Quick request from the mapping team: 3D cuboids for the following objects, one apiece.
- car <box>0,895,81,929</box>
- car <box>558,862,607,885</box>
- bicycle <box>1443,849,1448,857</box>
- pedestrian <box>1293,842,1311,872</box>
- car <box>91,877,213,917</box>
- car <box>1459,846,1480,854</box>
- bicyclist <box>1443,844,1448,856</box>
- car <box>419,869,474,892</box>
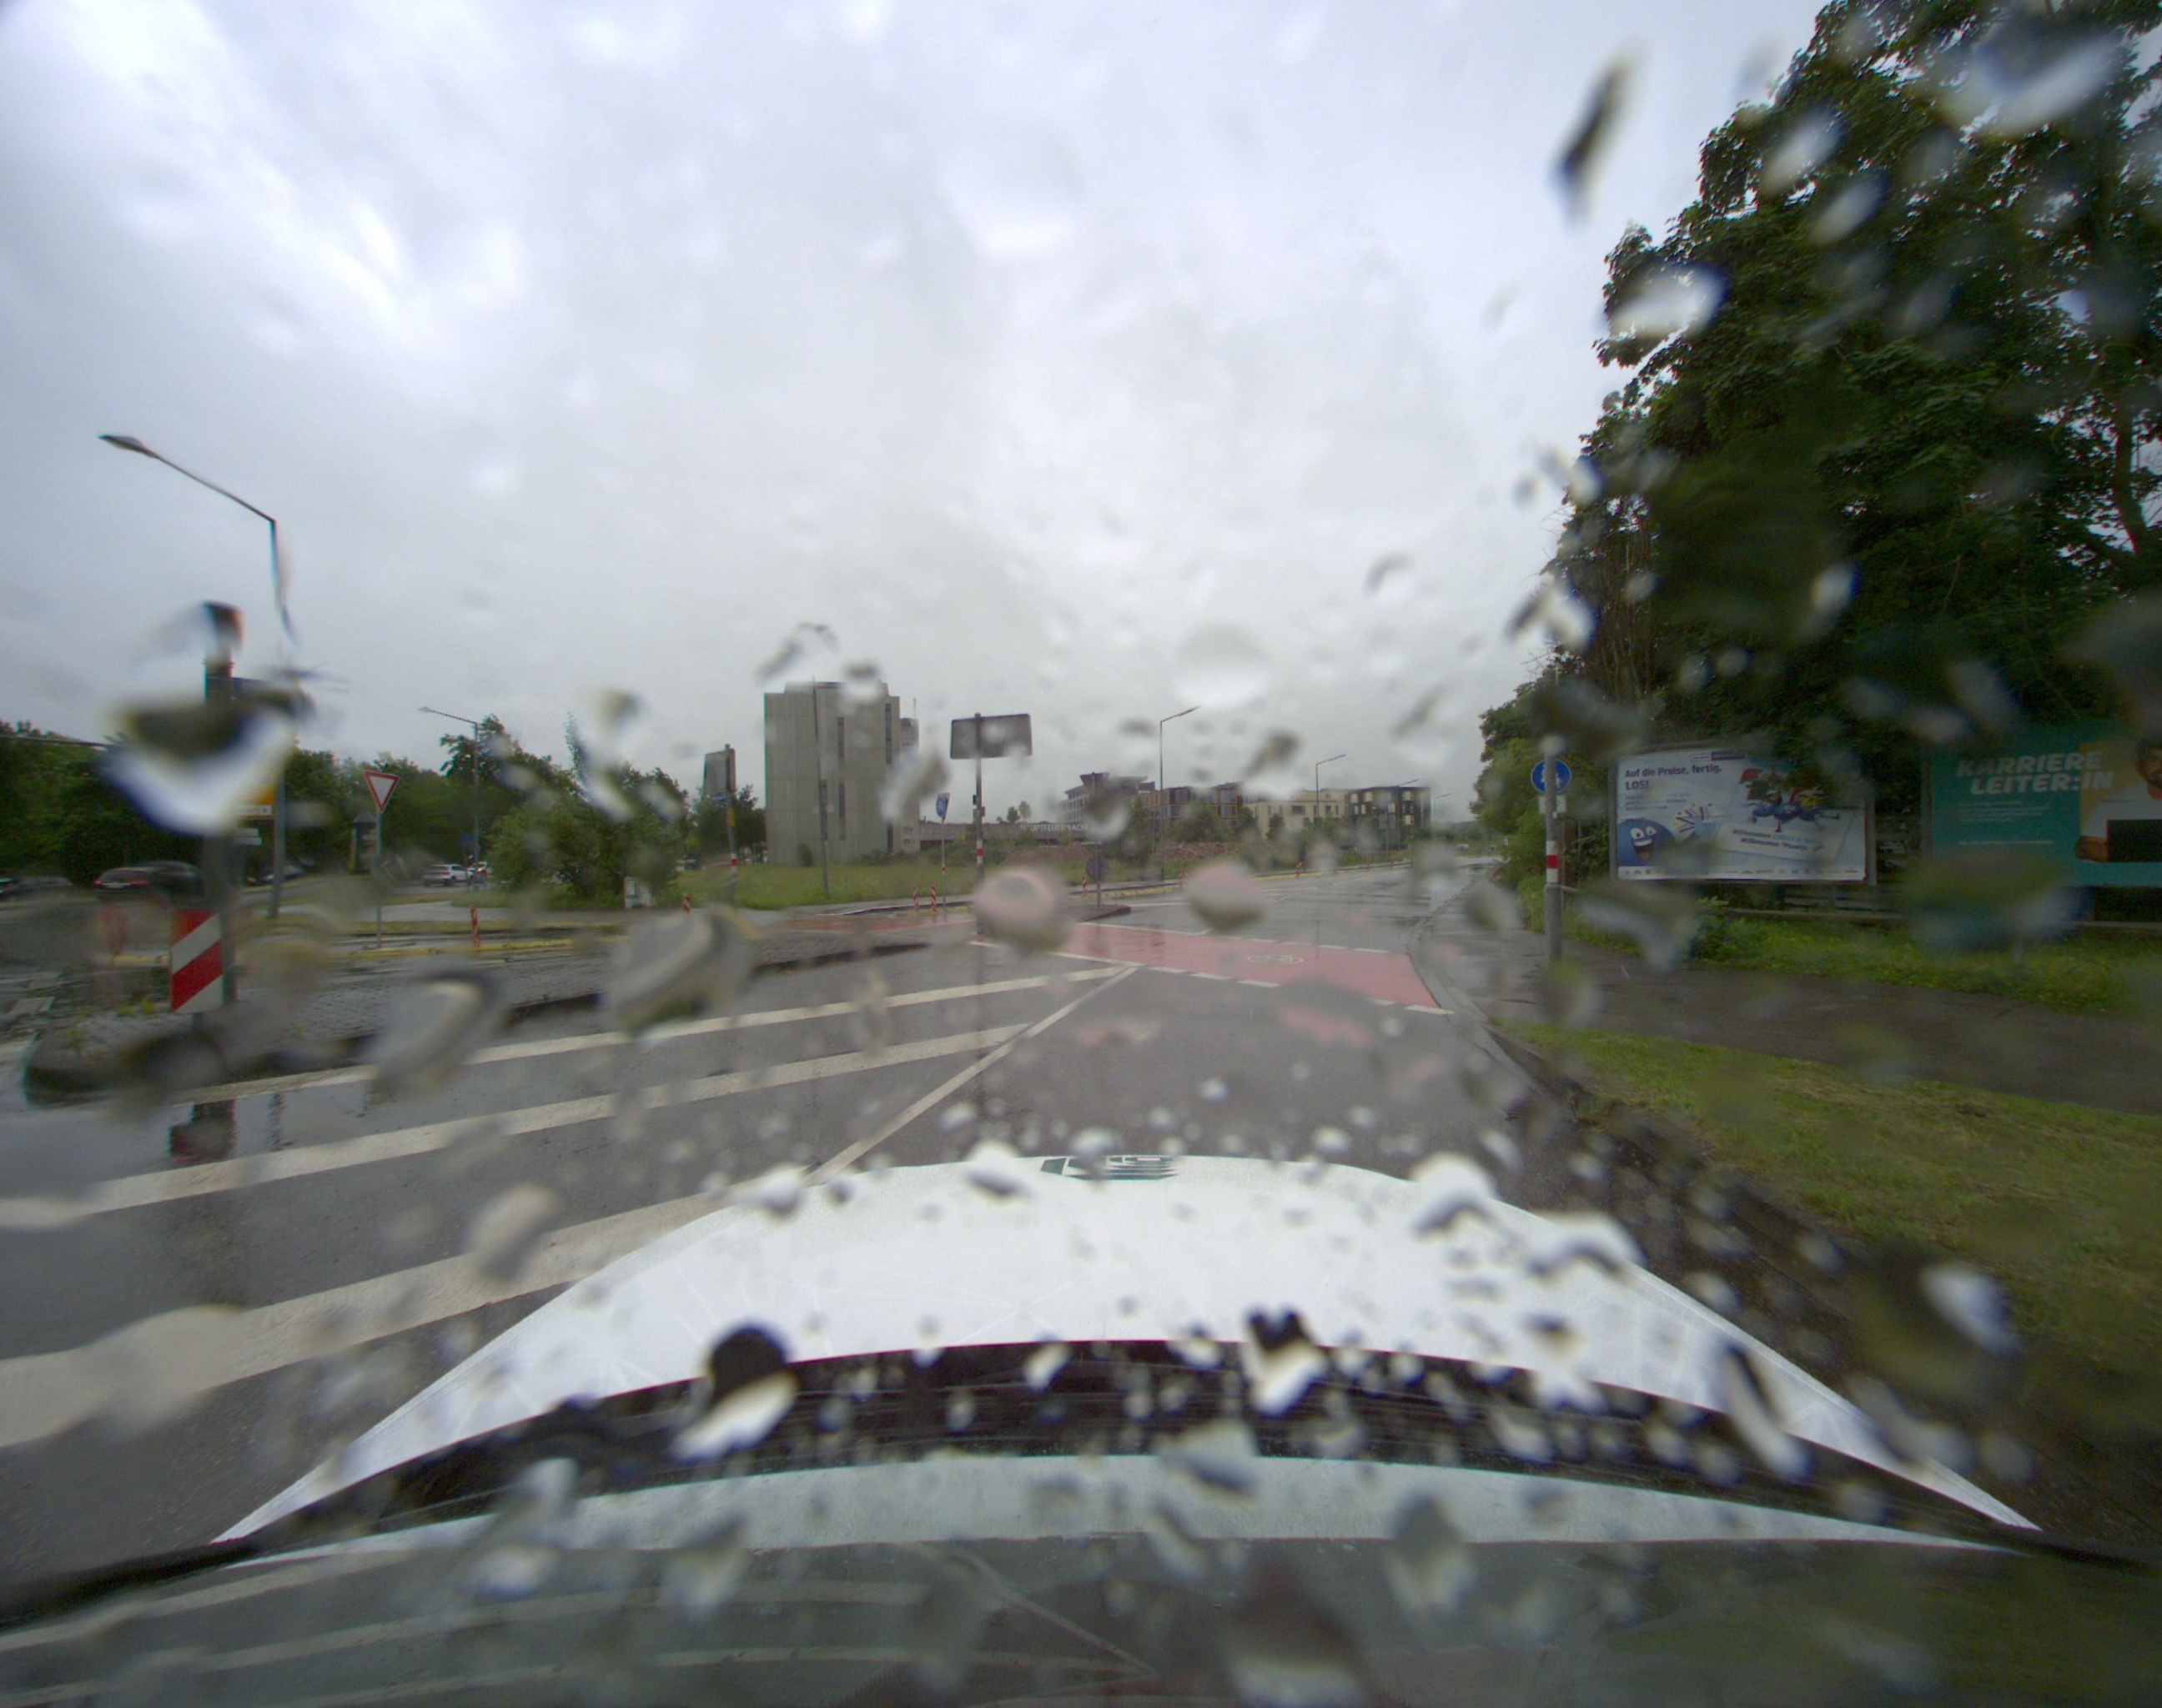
[{"bbox_3d":[-56.586,3.062,43.375,1.780,1.648,3.993,0,-2,-4],"label":"car"},{"bbox_3d":[-42.294,1.615,69.259,1.782,1.810,4.823,-1,0,-8],"label":"car"},{"bbox_3d":[43.951,-0.107,98.167,0.423,1.019,1.622,-1,0,28],"label":"bicycle"},{"bbox_3d":[15.372,0.238,56.688,0.838,2.014,1.139,-1,-3,37],"label":"pedestrian"},{"bbox_3d":[-40.890,1.850,35.989,1.789,1.648,3.972,1,-2,-21],"label":"car"},{"bbox_3d":[91.953,-0.921,192.851,3.988,1.772,1.992,1,-2,-11],"label":"car"},{"bbox_3d":[43.957,-0.446,98.175,0.439,1.404,0.553,-1,-3,29],"label":"bicyclist"},{"bbox_3d":[-46.171,1.955,59.360,1.683,1.648,3.927,1,-2,-14],"label":"car"}]
